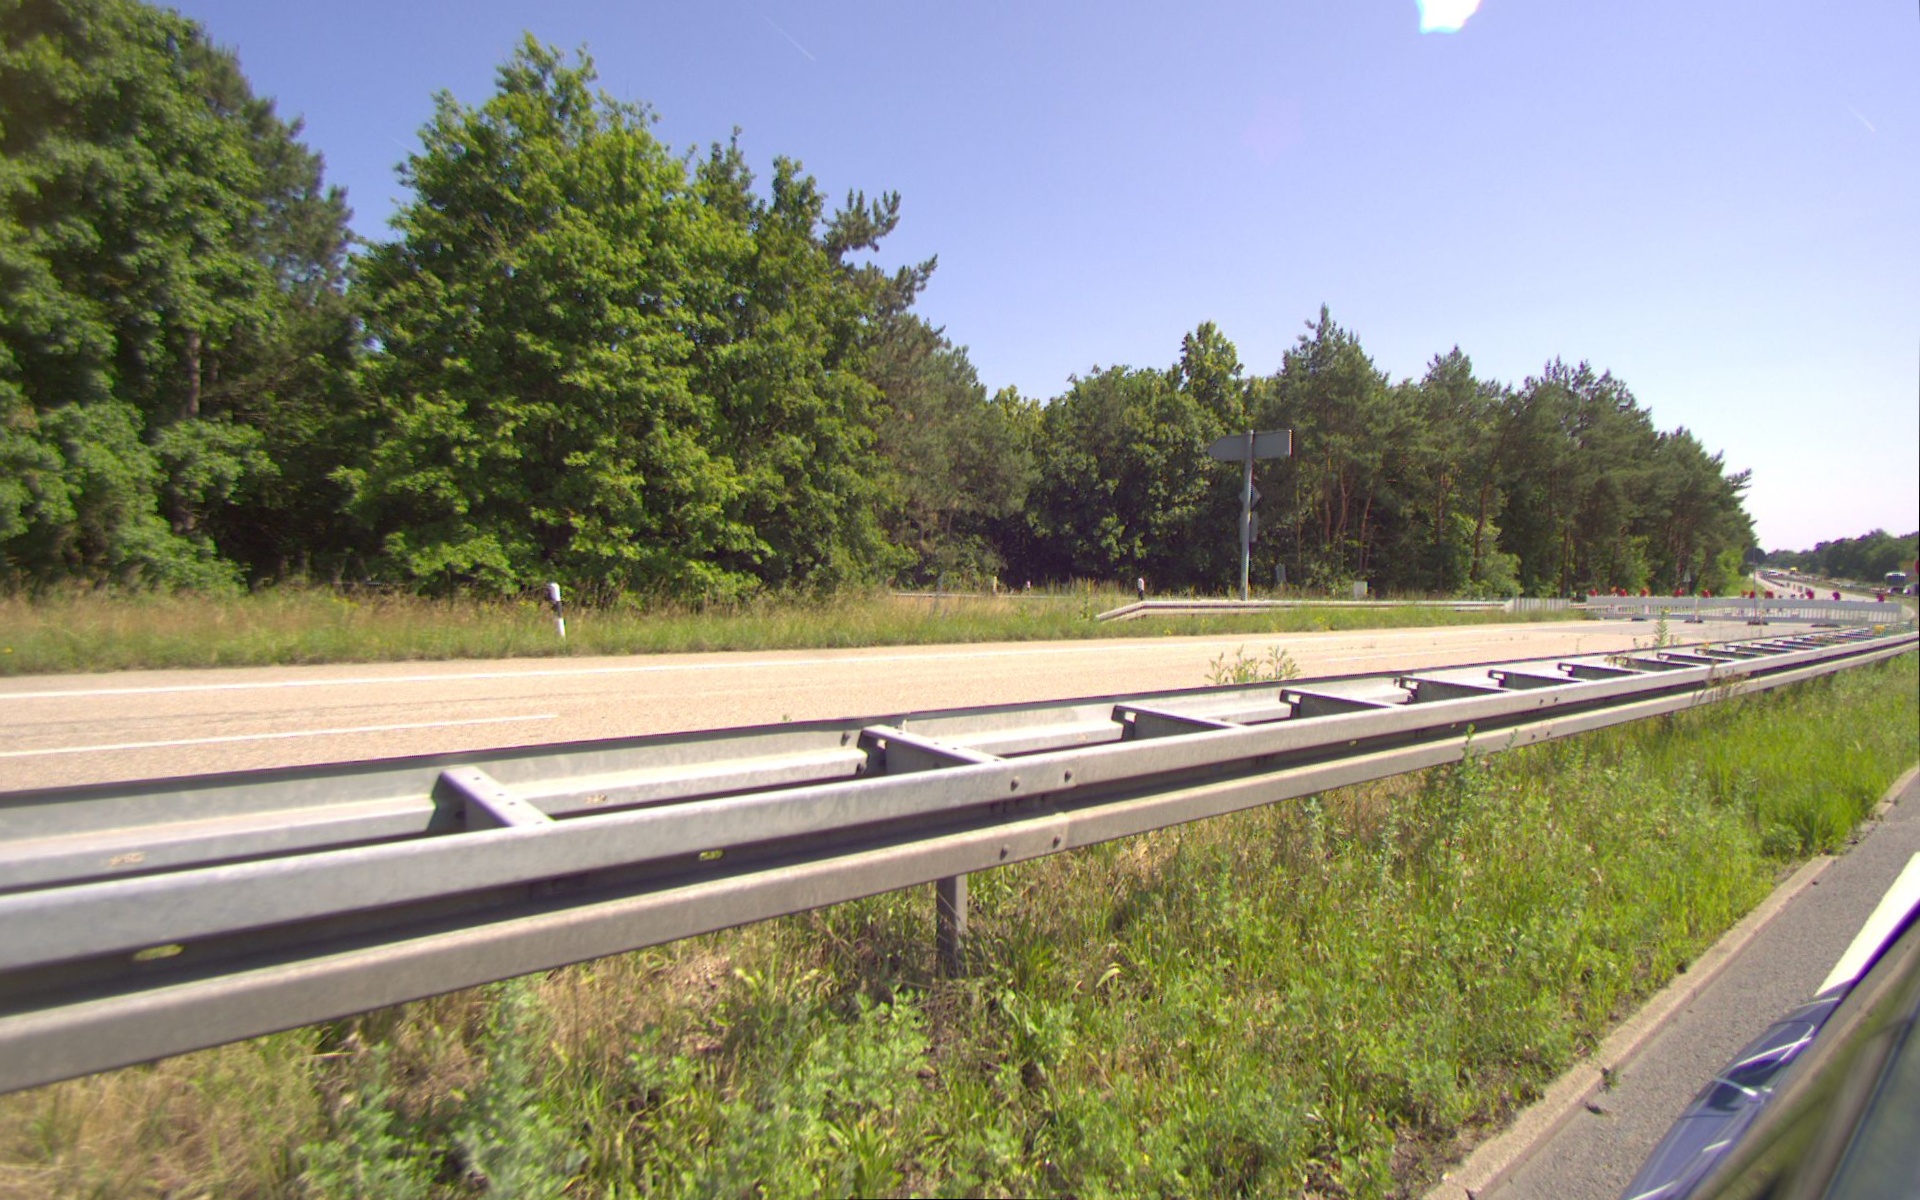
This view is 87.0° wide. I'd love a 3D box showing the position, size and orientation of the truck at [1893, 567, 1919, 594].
[{"bbox_3d":[155.151,-3.141,165.320,3.819,4.343,11.072,2,2,43],"label":"truck"}]
